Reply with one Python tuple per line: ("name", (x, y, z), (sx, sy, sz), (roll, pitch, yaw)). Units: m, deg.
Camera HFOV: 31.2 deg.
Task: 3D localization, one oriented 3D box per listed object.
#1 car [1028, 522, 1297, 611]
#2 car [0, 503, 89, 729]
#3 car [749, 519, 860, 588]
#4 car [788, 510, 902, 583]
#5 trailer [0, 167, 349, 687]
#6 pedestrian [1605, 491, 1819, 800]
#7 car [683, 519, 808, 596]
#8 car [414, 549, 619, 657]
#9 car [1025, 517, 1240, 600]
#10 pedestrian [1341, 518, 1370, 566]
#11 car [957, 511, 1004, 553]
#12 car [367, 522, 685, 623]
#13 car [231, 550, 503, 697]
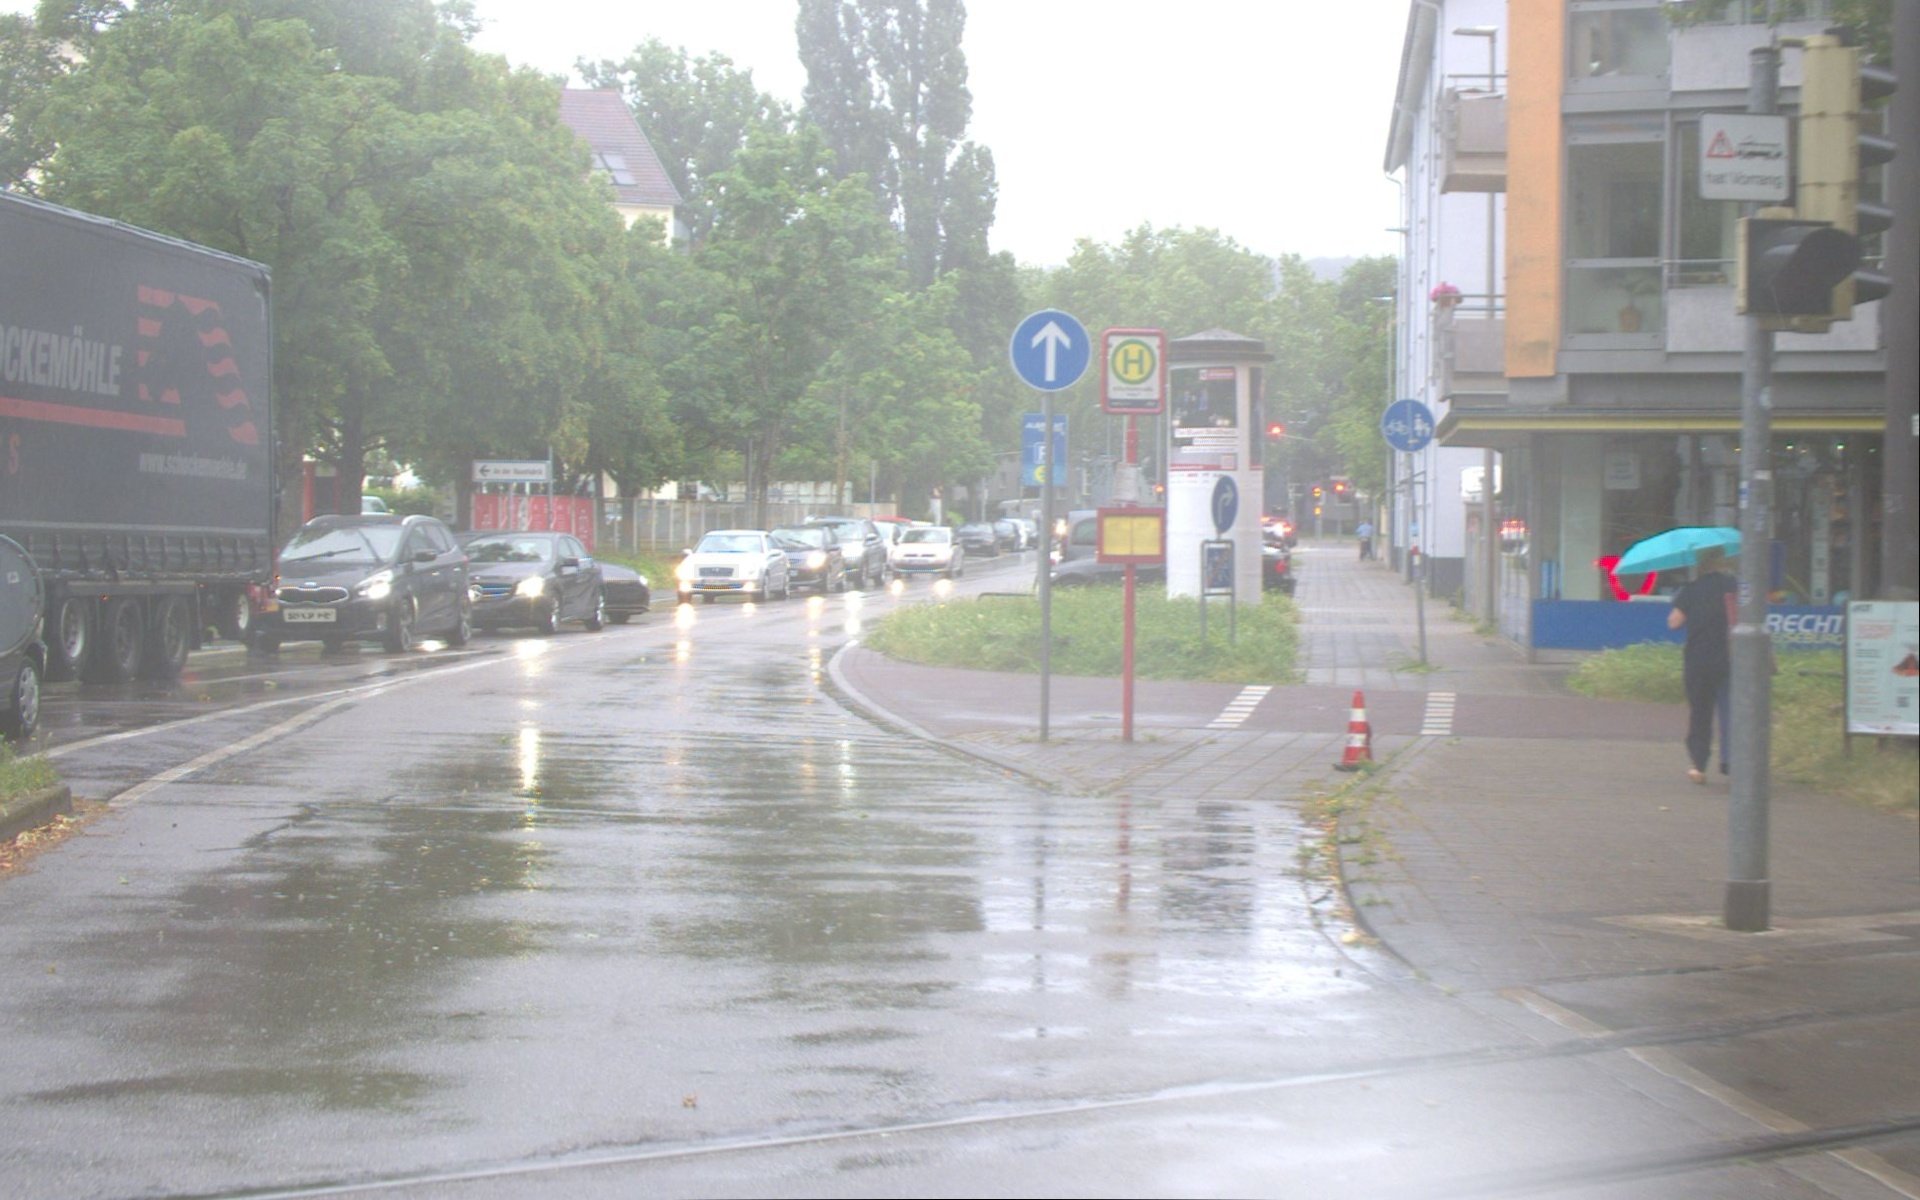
("car", (3.518, -0.592, 59.276), (4.534, 1.465, 1.983), (1, 1, 6))
("car", (-6.737, 0.102, 20.844), (1.698, 1.368, 4.100), (1, 2, 3))
("car", (-3.366, -1.036, 75.034), (1.779, 1.415, 4.264), (1, 2, 6))
("car", (-2.699, -1.280, 81.841), (1.915, 1.634, 4.820), (2, 1, 7))
("trailer", (-8.967, -1.419, 28.877), (3.443, 4.035, 15.048), (1, 2, 6))
("pedestrian", (4.708, 0.262, 21.638), (1.171, 1.858, 1.385), (1, 1, 8))
("car", (-4.187, -0.852, 67.797), (1.775, 1.398, 4.829), (2, 1, 4))
("car", (-6.050, 0.008, 47.384), (1.727, 1.356, 4.336), (0, 2, 8))
("car", (3.448, -0.831, 68.327), (4.190, 1.563, 1.888), (1, 1, 5))
("pedestrian", (15.247, -2.244, 132.478), (1.063, 1.804, 1.093), (1, 1, 8))
("car", (0.834, -2.758, 139.242), (1.775, 1.524, 4.001), (2, 3, -1))
("car", (-6.809, -0.462, 53.692), (4.923, 1.449, 2.081), (2, 2, 38))
("car", (-6.979, 0.275, 40.984), (1.868, 1.614, 4.801), (1, 0, 7))
